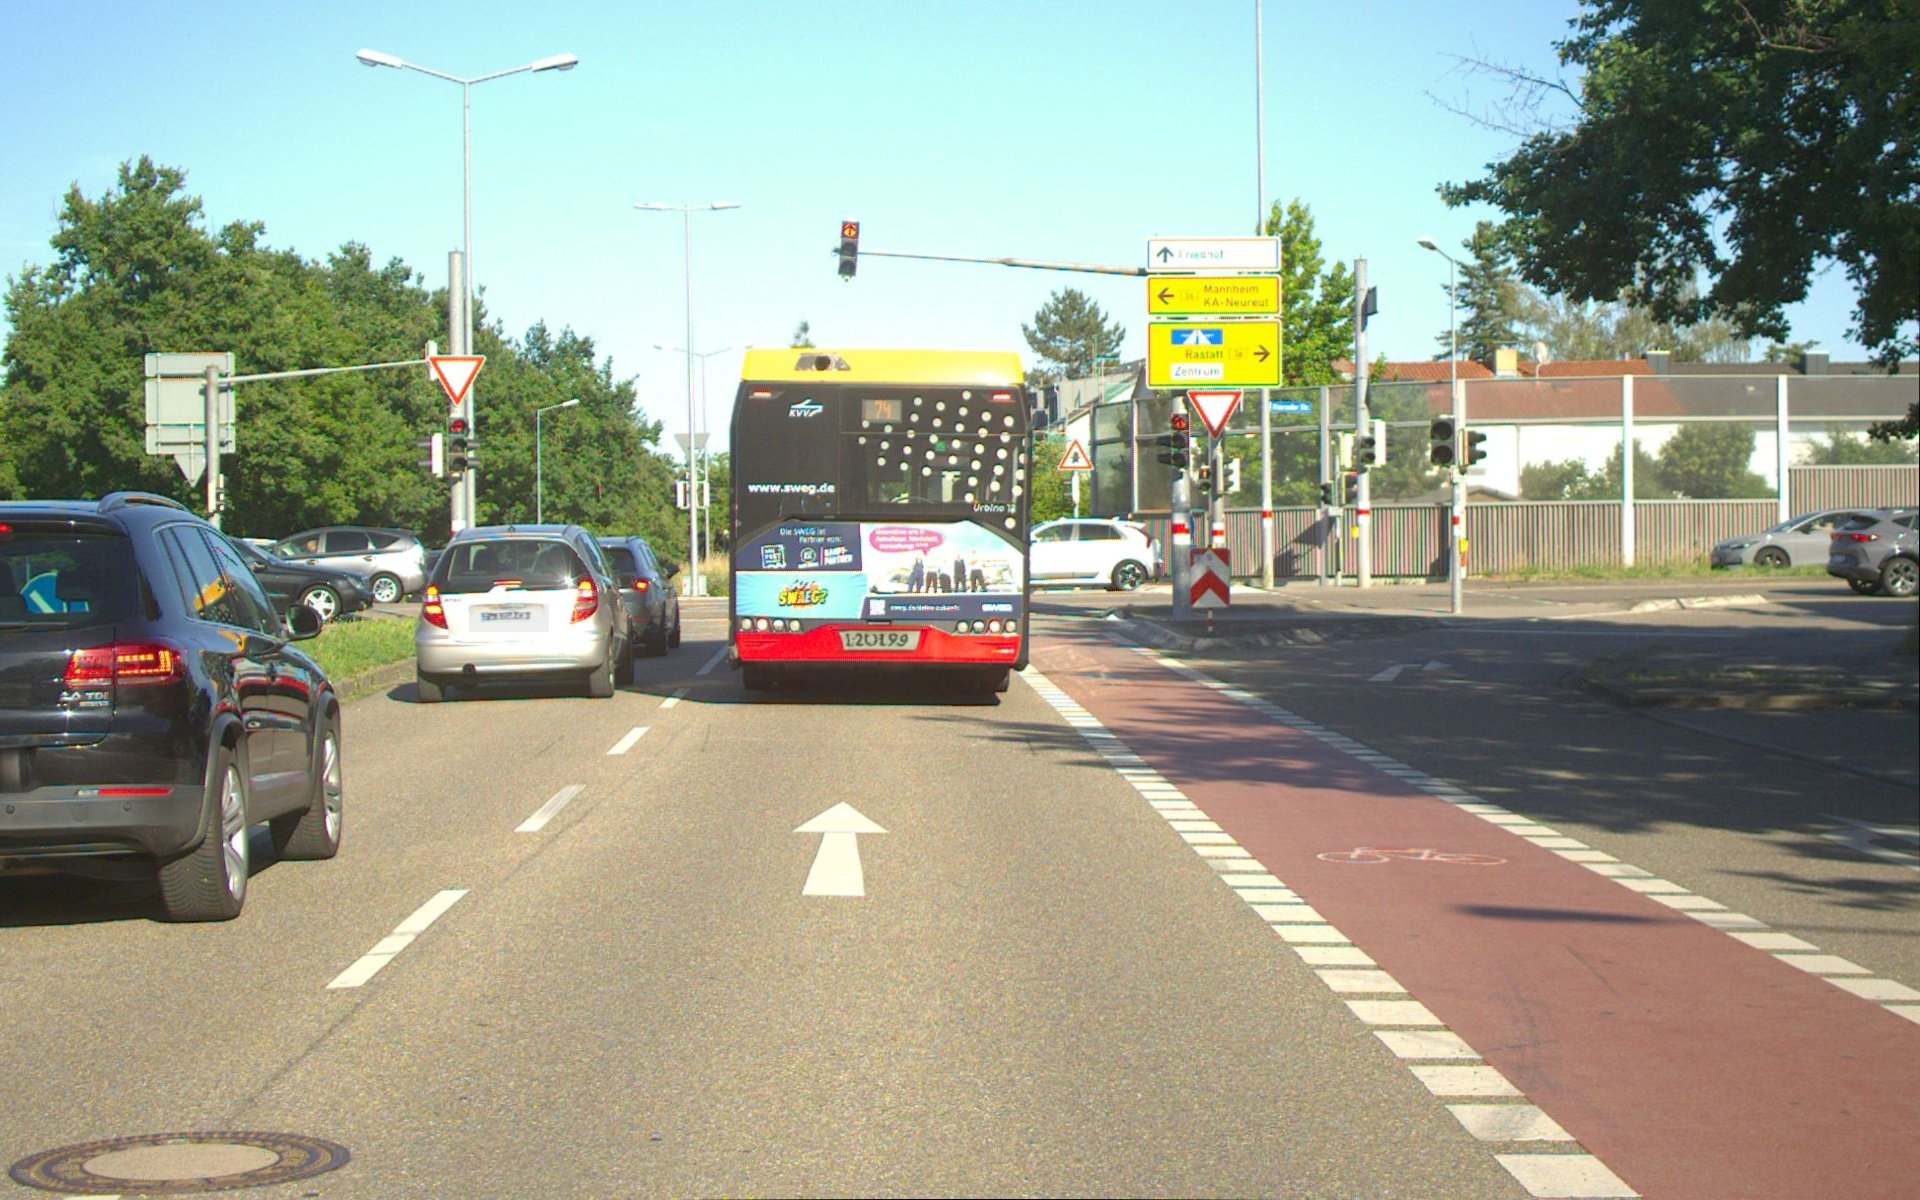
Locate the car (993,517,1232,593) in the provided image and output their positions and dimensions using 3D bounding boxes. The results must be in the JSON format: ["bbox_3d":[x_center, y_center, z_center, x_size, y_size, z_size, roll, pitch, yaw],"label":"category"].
[{"bbox_3d":[3.100,-0.926,70.688,4.701,1.535,2.000,0,1,-4],"label":"car"}]

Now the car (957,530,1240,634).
[{"bbox_3d":[1.820,-0.250,44.622,3.523,1.297,1.574,0,1,8],"label":"car"}]

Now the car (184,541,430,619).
[{"bbox_3d":[-13.019,-0.409,68.776,4.701,1.535,2.000,0,1,-6],"label":"car"}]

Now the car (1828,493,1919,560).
[{"bbox_3d":[19.733,-1.447,69.049,4.159,1.298,1.575,1,0,-4],"label":"car"}]

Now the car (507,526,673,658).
[{"bbox_3d":[-4.345,-0.103,40.814,1.588,1.480,3.682,0,0,0],"label":"car"}]

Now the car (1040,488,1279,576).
[{"bbox_3d":[3.694,-1.253,64.062,4.220,1.557,1.764,1,0,-5],"label":"car"}]

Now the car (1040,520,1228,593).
[{"bbox_3d":[3.885,-0.988,77.148,3.986,1.606,1.696,0,1,-6],"label":"car"}]

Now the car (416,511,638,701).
[{"bbox_3d":[-4.017,-0.002,32.438,1.753,1.614,4.034,0,2,-3],"label":"car"}]

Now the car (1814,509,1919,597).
[{"bbox_3d":[17.103,-0.777,59.358,4.220,1.475,1.764,1,0,-5],"label":"car"}]

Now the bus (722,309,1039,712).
[{"bbox_3d":[-0.768,-0.874,34.676,2.596,3.323,11.985,1,1,-1],"label":"bus"}]

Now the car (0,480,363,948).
[{"bbox_3d":[-3.733,0.415,14.376,1.821,1.668,4.003,-1,0,-1],"label":"car"}]

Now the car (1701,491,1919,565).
[{"bbox_3d":[17.977,-1.501,72.209,4.413,1.454,1.575,1,0,-4],"label":"car"}]

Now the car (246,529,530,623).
[{"bbox_3d":[-9.318,-0.409,56.283,4.461,1.436,1.683,-1,2,-5],"label":"car"}]
